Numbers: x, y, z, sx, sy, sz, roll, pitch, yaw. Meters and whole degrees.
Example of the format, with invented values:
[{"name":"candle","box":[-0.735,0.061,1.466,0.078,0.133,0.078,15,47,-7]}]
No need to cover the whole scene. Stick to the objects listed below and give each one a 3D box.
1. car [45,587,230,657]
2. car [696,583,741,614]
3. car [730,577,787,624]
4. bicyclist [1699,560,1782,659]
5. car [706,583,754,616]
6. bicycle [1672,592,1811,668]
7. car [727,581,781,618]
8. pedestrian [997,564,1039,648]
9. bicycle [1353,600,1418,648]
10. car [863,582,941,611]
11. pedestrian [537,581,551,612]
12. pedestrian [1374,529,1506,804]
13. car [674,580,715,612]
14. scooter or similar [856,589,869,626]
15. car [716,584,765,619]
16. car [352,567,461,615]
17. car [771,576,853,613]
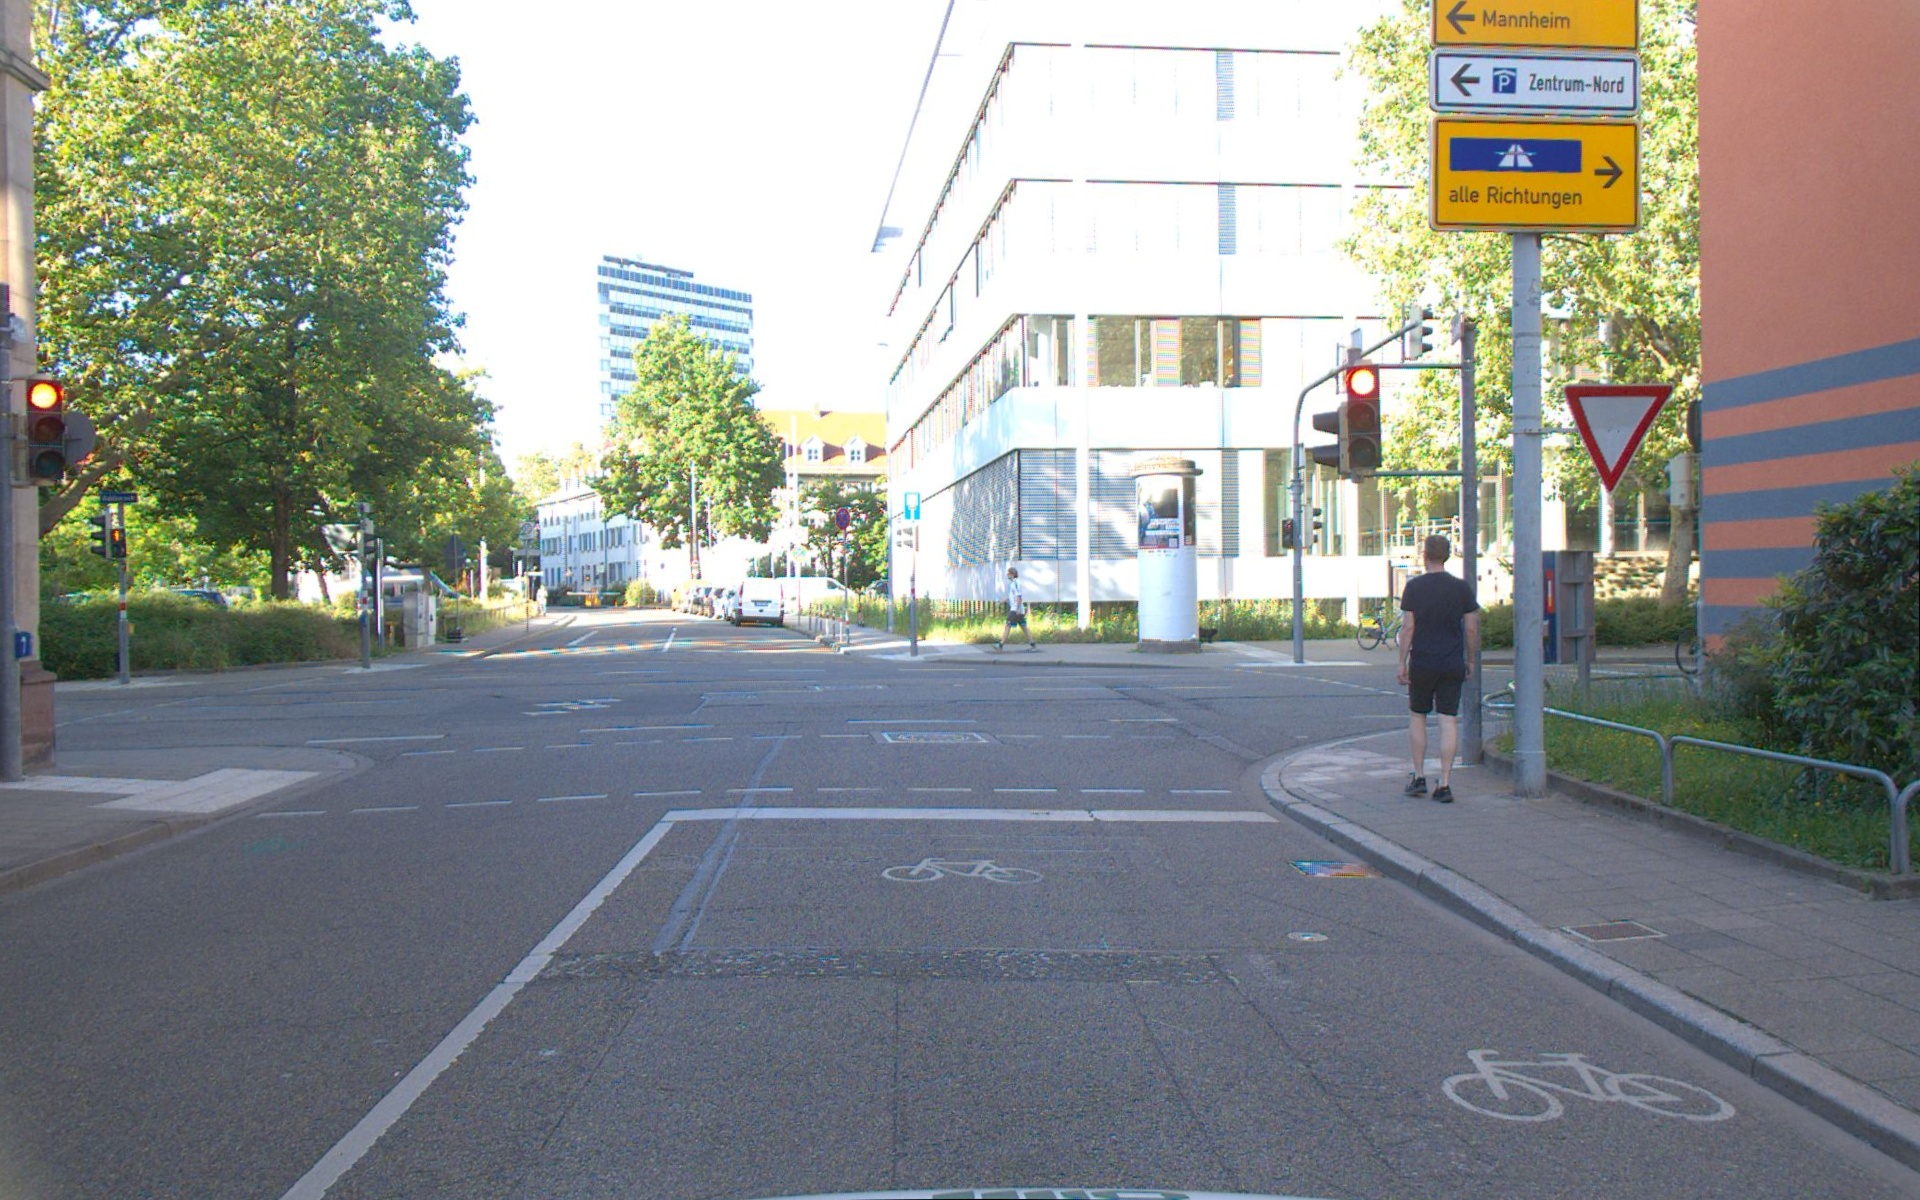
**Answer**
[{"name":"car","box":[-18.365,0.484,37.056,3.347,1.483,1.646,1,0,-11]},{"name":"car","box":[-12.550,-0.052,85.781,1.959,1.525,4.637,1,0,-13]},{"name":"car","box":[-7.915,0.015,64.695,1.957,1.755,4.641,1,0,-10]},{"name":"bicyclist","box":[12.510,0.153,26.527,1.052,1.554,0.593,-1,0,5]},{"name":"car","box":[-11.307,-0.010,81.076,1.959,1.525,4.272,1,0,-13]},{"name":"bicycle","box":[12.522,0.474,26.520,1.922,1.172,0.593,-1,0,5]},{"name":"car","box":[-8.868,-0.020,70.894,1.958,1.525,4.639,1,0,-11]},{"name":"pedestrian","box":[1.325,0.133,37.871,0.895,1.901,0.742,1,-1,-1]},{"name":"bicycle","box":[9.324,0.510,36.275,0.376,1.026,1.410,-1,0,-42]},{"name":"car","box":[-3.675,-0.235,104.716,4.563,1.755,1.991,1,0,-17]},{"name":"pedestrian","box":[-22.447,-0.193,89.221,0.688,1.614,0.634,1,-1,-16]},{"name":"pedestrian","box":[3.334,0.451,11.535,0.685,1.842,0.719,1,-1,-1]},{"name":"car","box":[-15.383,-0.213,95.597,1.960,1.755,4.635,1,0,-14]},{"name":"scooter or similar","box":[-3.427,0.267,58.228,0.429,1.278,1.418,-1,0,-5]},{"name":"car","box":[-10.194,0.058,76.645,1.958,1.525,4.639,1,0,-11]},{"name":"car","box":[-24.962,-0.391,74.674,4.363,2.049,1.995,1,0,-10]},{"name":"car","box":[-9.200,-0.351,102.789,4.718,2.196,1.990,1,0,-18]}]
